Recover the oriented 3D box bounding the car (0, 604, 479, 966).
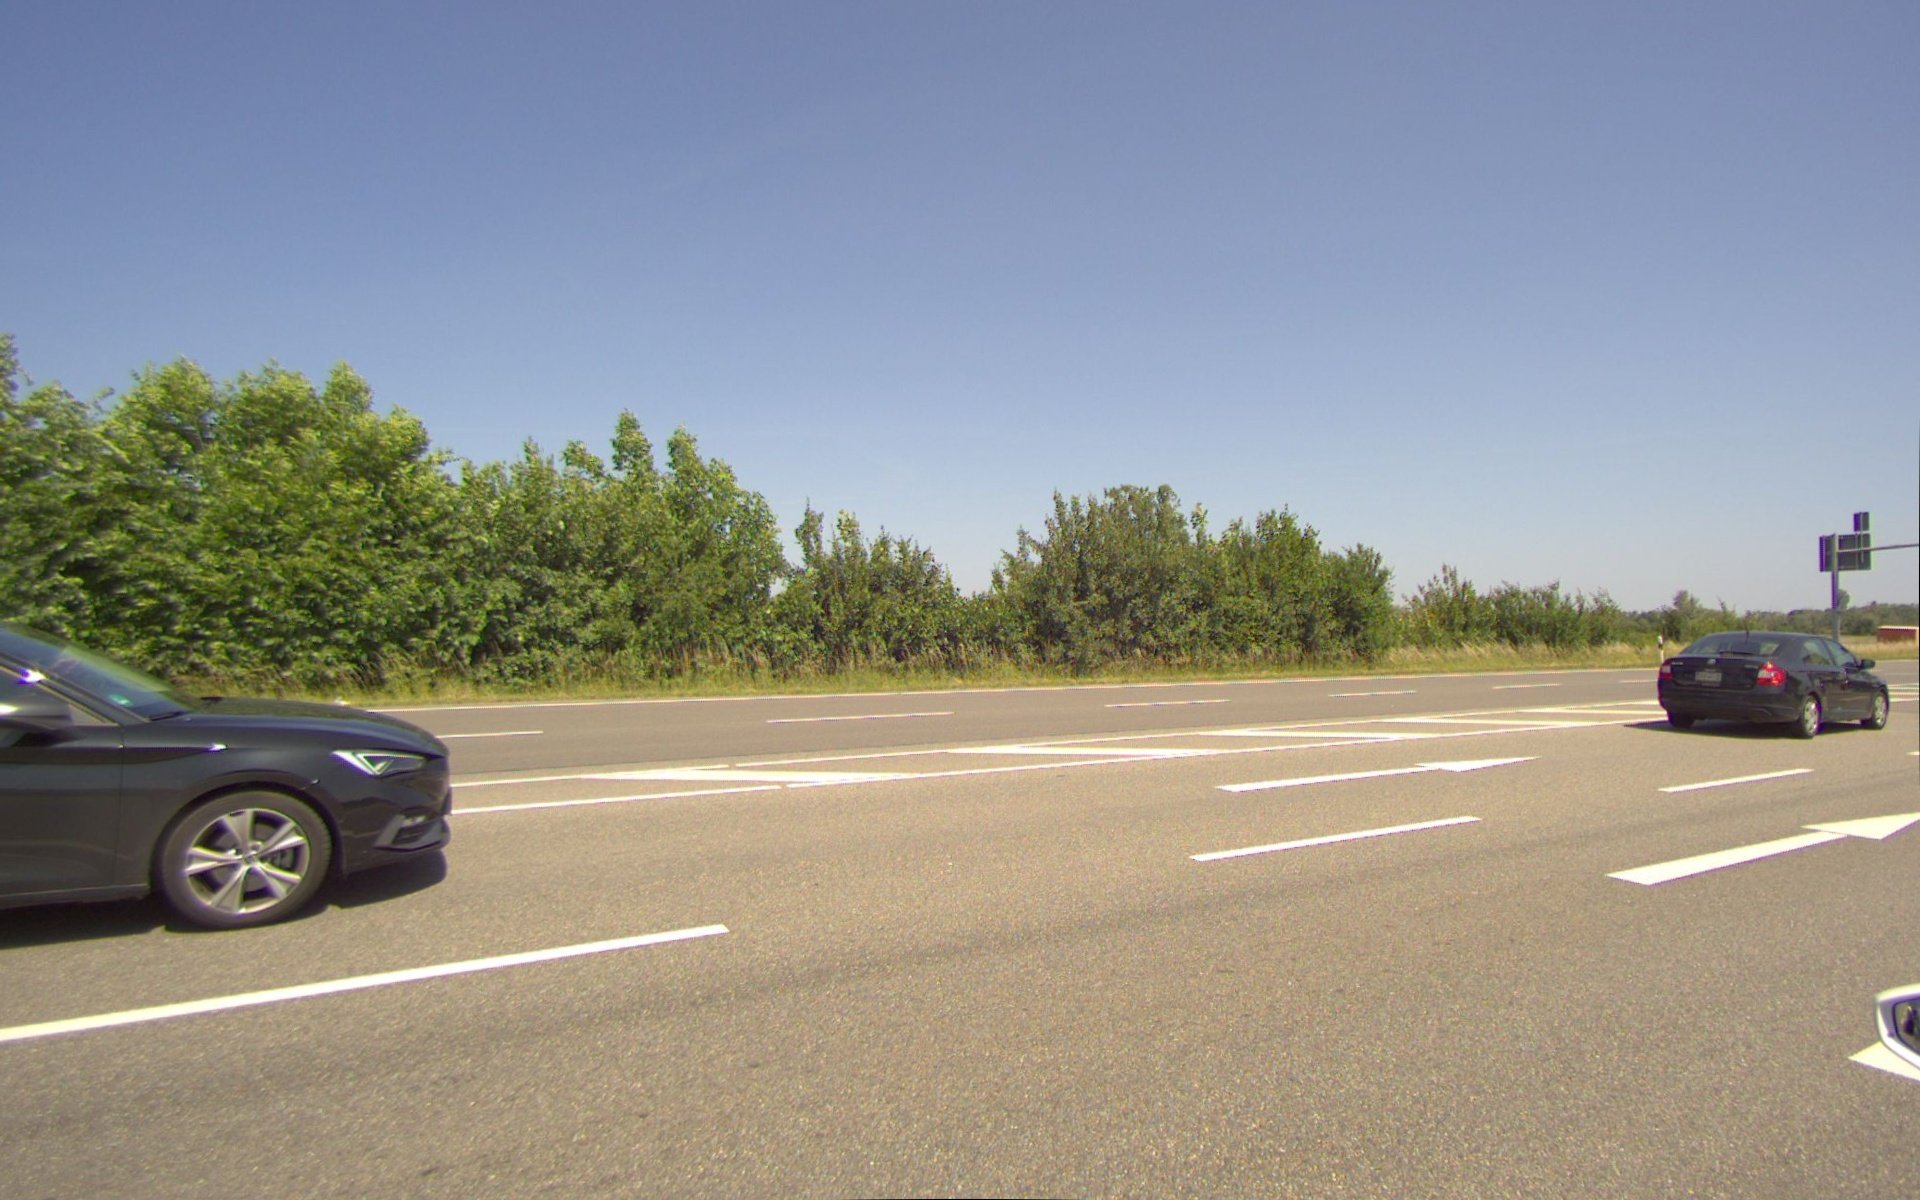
[{"bbox_3d":[-4.791,0.753,4.677,4.473,1.466,1.880,1,-1,-30],"label":"car"}]

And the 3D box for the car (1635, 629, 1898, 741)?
[{"bbox_3d":[12.066,1.187,14.950,4.417,1.430,1.666,2,-1,-31],"label":"car"}]
